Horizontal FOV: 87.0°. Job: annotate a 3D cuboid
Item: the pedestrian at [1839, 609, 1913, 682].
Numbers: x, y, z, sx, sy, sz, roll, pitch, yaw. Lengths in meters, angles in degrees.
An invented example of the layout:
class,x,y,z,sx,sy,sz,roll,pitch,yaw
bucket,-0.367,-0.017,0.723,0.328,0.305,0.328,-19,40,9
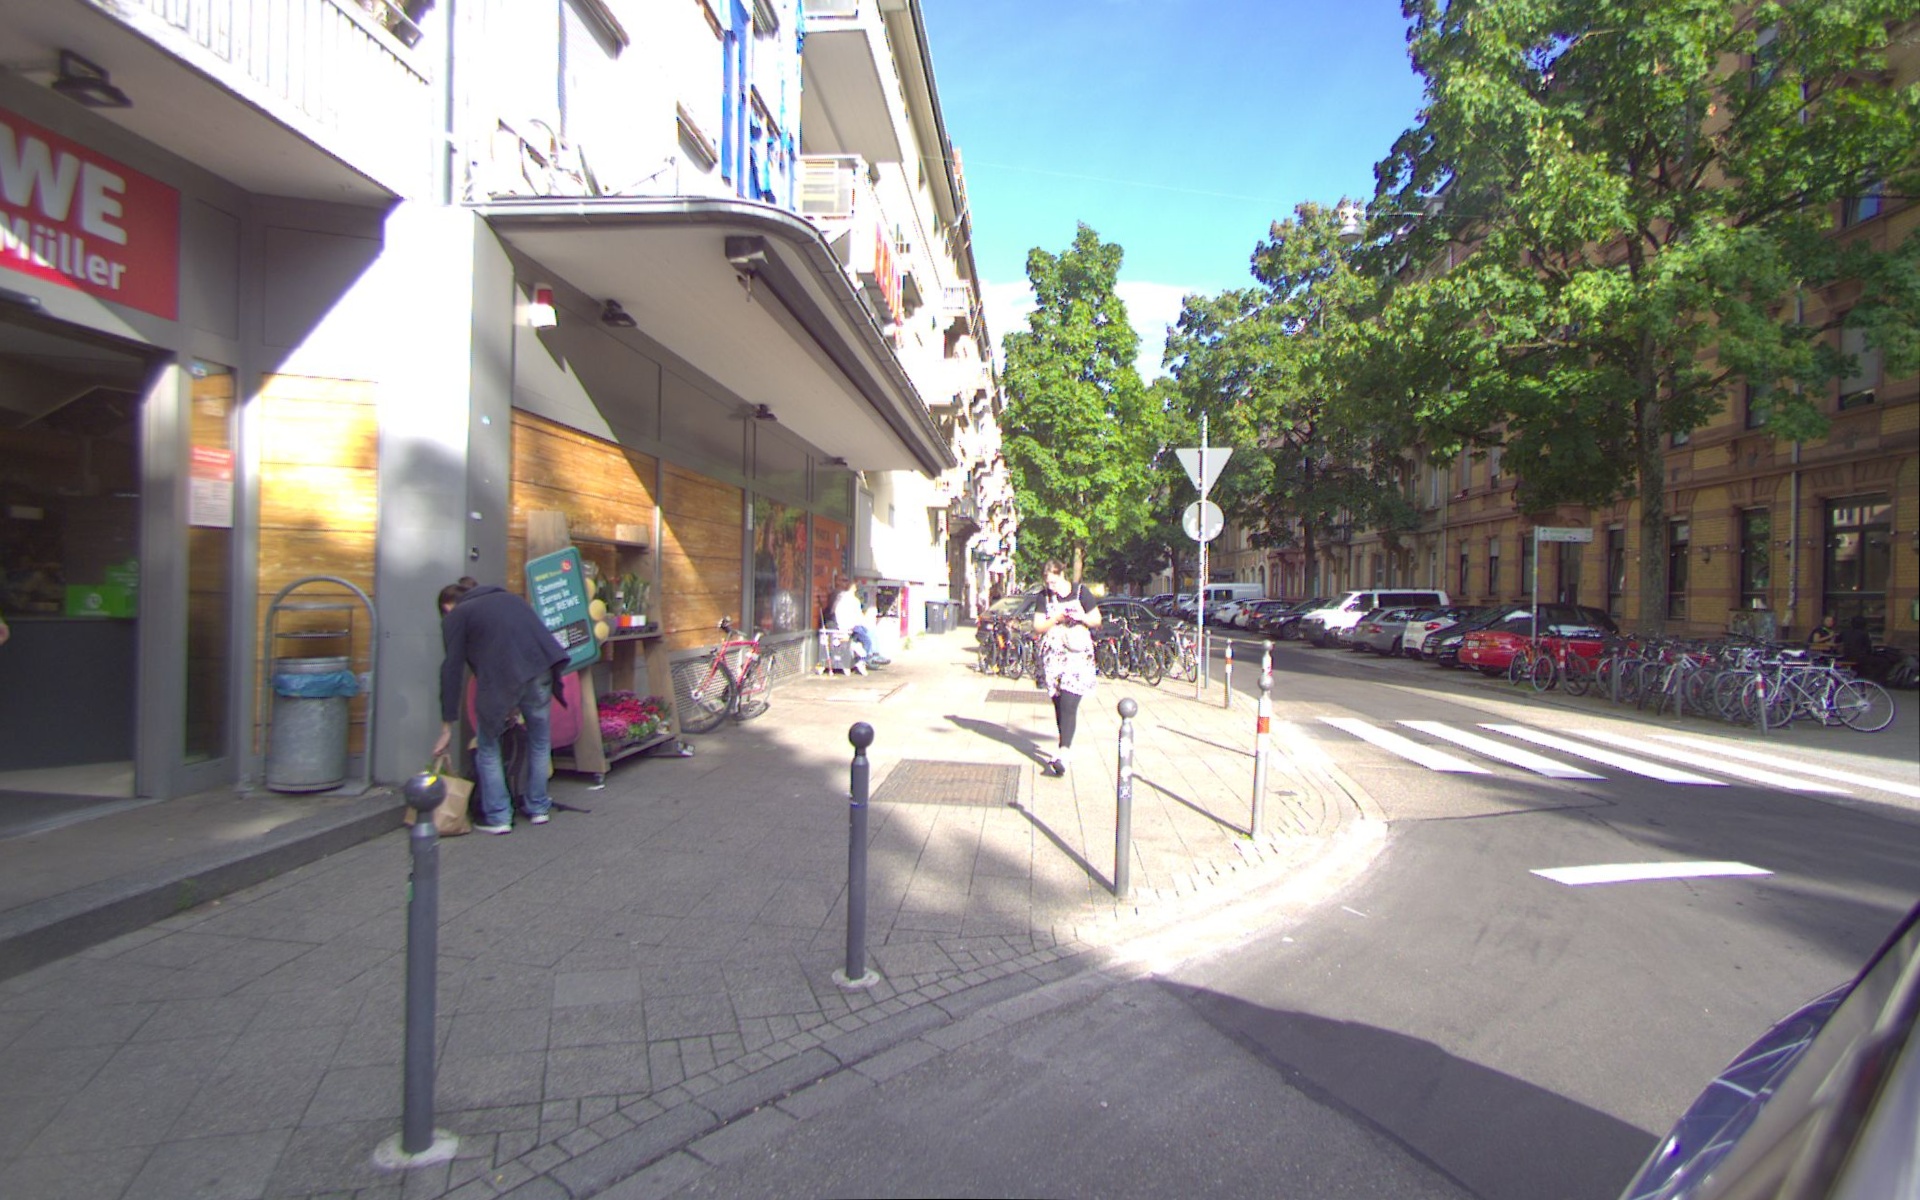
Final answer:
class,x,y,z,sx,sy,sz,roll,pitch,yaw
pedestrian,16.833,0.822,18.608,0.755,1.301,0.628,-1,0,4

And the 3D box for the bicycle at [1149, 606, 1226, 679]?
class,x,y,z,sx,sy,sz,roll,pitch,yaw
bicycle,4.073,0.741,18.245,0.404,1.190,1.857,2,0,-19

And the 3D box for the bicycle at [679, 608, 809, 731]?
class,x,y,z,sx,sy,sz,roll,pitch,yaw
bicycle,-2.057,0.626,9.851,0.575,1.046,1.528,3,1,15

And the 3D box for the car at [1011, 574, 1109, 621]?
class,x,y,z,sx,sy,sz,roll,pitch,yaw
car,5.293,-0.116,53.617,4.711,2.249,2.151,2,-1,-26

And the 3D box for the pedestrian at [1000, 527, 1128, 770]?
class,x,y,z,sx,sy,sz,roll,pitch,yaw
pedestrian,0.820,0.348,7.913,0.611,1.775,0.830,1,0,40

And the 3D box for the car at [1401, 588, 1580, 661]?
class,x,y,z,sx,sy,sz,roll,pitch,yaw
car,13.618,0.613,26.166,3.645,1.743,1.857,1,-1,8

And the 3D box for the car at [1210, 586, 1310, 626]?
class,x,y,z,sx,sy,sz,roll,pitch,yaw
car,15.041,0.294,50.924,4.377,1.856,1.935,-2,1,3

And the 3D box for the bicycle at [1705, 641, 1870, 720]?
class,x,y,z,sx,sy,sz,roll,pitch,yaw
bicycle,11.367,1.088,13.950,1.690,0.999,0.445,0,1,19

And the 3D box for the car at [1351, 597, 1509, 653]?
class,x,y,z,sx,sy,sz,roll,pitch,yaw
car,13.147,0.698,28.465,3.645,1.476,1.666,-1,-1,8

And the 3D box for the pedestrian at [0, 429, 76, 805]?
class,x,y,z,sx,sy,sz,roll,pitch,yaw
pedestrian,-4.984,0.071,4.855,0.919,1.775,0.760,1,0,21

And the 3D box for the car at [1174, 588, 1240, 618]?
class,x,y,z,sx,sy,sz,roll,pitch,yaw
car,16.678,0.216,68.465,4.055,1.898,1.996,1,-1,6

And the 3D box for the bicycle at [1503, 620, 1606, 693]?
class,x,y,z,sx,sy,sz,roll,pitch,yaw
bicycle,10.614,0.978,18.185,0.572,1.109,2.496,-2,1,6

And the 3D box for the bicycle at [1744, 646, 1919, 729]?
class,x,y,z,sx,sy,sz,roll,pitch,yaw
bicycle,11.233,1.106,13.065,1.690,0.981,0.445,0,1,19

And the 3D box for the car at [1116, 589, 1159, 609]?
class,x,y,z,sx,sy,sz,roll,pitch,yaw
car,17.195,-0.091,97.953,3.929,1.754,1.827,1,-1,5

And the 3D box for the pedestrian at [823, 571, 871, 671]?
class,x,y,z,sx,sy,sz,roll,pitch,yaw
pedestrian,-1.767,0.318,15.908,0.655,1.525,0.753,1,0,0

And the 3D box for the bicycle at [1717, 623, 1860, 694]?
class,x,y,z,sx,sy,sz,roll,pitch,yaw
bicycle,13.740,0.961,16.823,1.771,1.128,0.598,0,1,10

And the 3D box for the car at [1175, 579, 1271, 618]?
class,x,y,z,sx,sy,sz,roll,pitch,yaw
car,15.872,-0.077,61.283,5.387,2.229,1.996,1,-1,6

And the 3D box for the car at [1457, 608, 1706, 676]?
class,x,y,z,sx,sy,sz,roll,pitch,yaw
car,12.614,0.846,20.732,4.038,1.286,1.566,-1,-1,4

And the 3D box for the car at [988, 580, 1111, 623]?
class,x,y,z,sx,sy,sz,roll,pitch,yaw
car,3.568,0.078,40.165,4.532,1.514,1.754,2,-1,-22

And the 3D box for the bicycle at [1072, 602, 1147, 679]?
class,x,y,z,sx,sy,sz,roll,pitch,yaw
bicycle,2.516,0.661,17.235,0.404,1.190,1.857,2,0,-19

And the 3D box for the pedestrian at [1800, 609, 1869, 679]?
class,x,y,z,sx,sy,sz,roll,pitch,yaw
pedestrian,16.793,0.831,19.449,0.755,1.301,0.628,-1,0,4

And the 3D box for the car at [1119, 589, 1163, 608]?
class,x,y,z,sx,sy,sz,roll,pitch,yaw
car,17.076,-0.118,95.724,3.929,1.754,1.827,1,-1,5

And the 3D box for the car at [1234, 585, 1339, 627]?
class,x,y,z,sx,sy,sz,roll,pitch,yaw
car,15.572,0.281,48.459,4.377,1.856,1.935,-2,1,3

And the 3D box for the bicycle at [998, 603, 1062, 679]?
class,x,y,z,sx,sy,sz,roll,pitch,yaw
bicycle,1.127,0.650,16.643,0.412,1.099,1.703,2,2,-18

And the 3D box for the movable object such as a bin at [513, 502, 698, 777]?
class,x,y,z,sx,sy,sz,roll,pitch,yaw
movable object such as a bin,-2.542,0.247,7.446,0.678,1.776,1.548,3,0,3

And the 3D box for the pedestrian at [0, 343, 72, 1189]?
class,x,y,z,sx,sy,sz,roll,pitch,yaw
pedestrian,-2.339,0.367,1.965,0.645,1.819,0.656,3,3,-7

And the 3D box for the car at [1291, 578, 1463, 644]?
class,x,y,z,sx,sy,sz,roll,pitch,yaw
car,13.820,0.350,33.774,4.821,2.014,2.046,-2,1,3

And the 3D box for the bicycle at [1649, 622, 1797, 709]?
class,x,y,z,sx,sy,sz,roll,pitch,yaw
bicycle,11.315,0.952,15.047,1.690,1.216,0.445,0,1,19

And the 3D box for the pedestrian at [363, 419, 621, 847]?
class,x,y,z,sx,sy,sz,roll,pitch,yaw
pedestrian,-2.533,0.148,5.472,1.016,2.038,0.863,2,1,-40

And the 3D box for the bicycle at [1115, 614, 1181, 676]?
class,x,y,z,sx,sy,sz,roll,pitch,yaw
bicycle,3.362,0.791,18.203,0.482,1.014,1.426,2,0,-19

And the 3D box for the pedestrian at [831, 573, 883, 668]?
class,x,y,z,sx,sy,sz,roll,pitch,yaw
pedestrian,-1.694,0.329,16.727,0.740,1.525,0.668,1,0,2

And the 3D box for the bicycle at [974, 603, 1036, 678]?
class,x,y,z,sx,sy,sz,roll,pitch,yaw
bicycle,0.714,0.644,16.756,0.412,1.099,1.703,2,2,-18

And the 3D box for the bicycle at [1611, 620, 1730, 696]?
class,x,y,z,sx,sy,sz,roll,pitch,yaw
bicycle,11.735,0.950,16.738,1.679,1.216,0.448,-1,1,-2

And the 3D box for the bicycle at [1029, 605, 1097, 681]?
class,x,y,z,sx,sy,sz,roll,pitch,yaw
bicycle,1.665,0.678,16.624,0.412,1.099,1.703,2,2,-18

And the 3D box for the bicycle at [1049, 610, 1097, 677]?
class,x,y,z,sx,sy,sz,roll,pitch,yaw
bicycle,1.884,0.705,16.980,0.405,1.031,1.504,2,0,-8

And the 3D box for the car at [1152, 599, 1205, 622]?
class,x,y,z,sx,sy,sz,roll,pitch,yaw
car,17.514,0.858,81.252,3.929,1.754,1.827,1,-1,5

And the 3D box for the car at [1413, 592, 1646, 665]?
class,x,y,z,sx,sy,sz,roll,pitch,yaw
car,13.061,0.639,23.503,4.245,1.589,2.000,-1,0,12

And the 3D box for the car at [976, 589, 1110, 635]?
class,x,y,z,sx,sy,sz,roll,pitch,yaw
car,3.025,0.435,36.840,4.532,1.514,1.754,2,-1,-22

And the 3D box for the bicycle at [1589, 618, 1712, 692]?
class,x,y,z,sx,sy,sz,roll,pitch,yaw
bicycle,11.772,0.932,17.284,1.684,1.216,0.447,0,1,10

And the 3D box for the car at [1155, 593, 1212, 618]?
class,x,y,z,sx,sy,sz,roll,pitch,yaw
car,16.803,0.416,76.303,3.929,1.754,1.827,1,-1,5

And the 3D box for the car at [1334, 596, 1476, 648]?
class,x,y,z,sx,sy,sz,roll,pitch,yaw
car,13.711,0.661,31.364,3.645,1.476,1.666,-2,1,8

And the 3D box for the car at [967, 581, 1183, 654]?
class,x,y,z,sx,sy,sz,roll,pitch,yaw
car,2.641,0.407,22.990,4.571,1.473,1.959,2,-1,-30

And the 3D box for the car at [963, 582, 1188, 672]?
class,x,y,z,sx,sy,sz,roll,pitch,yaw
car,2.226,0.515,19.909,3.916,1.473,1.815,3,1,-14

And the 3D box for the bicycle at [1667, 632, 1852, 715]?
class,x,y,z,sx,sy,sz,roll,pitch,yaw
bicycle,11.349,1.022,14.429,2.019,1.102,0.445,0,1,19

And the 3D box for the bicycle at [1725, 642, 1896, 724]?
class,x,y,z,sx,sy,sz,roll,pitch,yaw
bicycle,11.315,1.092,13.513,1.690,0.999,0.445,0,1,19

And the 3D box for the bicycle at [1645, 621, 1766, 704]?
class,x,y,z,sx,sy,sz,roll,pitch,yaw
bicycle,11.574,0.964,15.721,1.677,1.216,0.449,-1,1,-8

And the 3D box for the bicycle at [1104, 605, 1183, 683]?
class,x,y,z,sx,sy,sz,roll,pitch,yaw
bicycle,3.046,0.708,16.985,0.404,1.190,1.857,2,0,-19

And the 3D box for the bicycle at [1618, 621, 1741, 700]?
class,x,y,z,sx,sy,sz,roll,pitch,yaw
bicycle,11.558,0.960,16.279,1.679,1.216,0.448,-1,1,-2
